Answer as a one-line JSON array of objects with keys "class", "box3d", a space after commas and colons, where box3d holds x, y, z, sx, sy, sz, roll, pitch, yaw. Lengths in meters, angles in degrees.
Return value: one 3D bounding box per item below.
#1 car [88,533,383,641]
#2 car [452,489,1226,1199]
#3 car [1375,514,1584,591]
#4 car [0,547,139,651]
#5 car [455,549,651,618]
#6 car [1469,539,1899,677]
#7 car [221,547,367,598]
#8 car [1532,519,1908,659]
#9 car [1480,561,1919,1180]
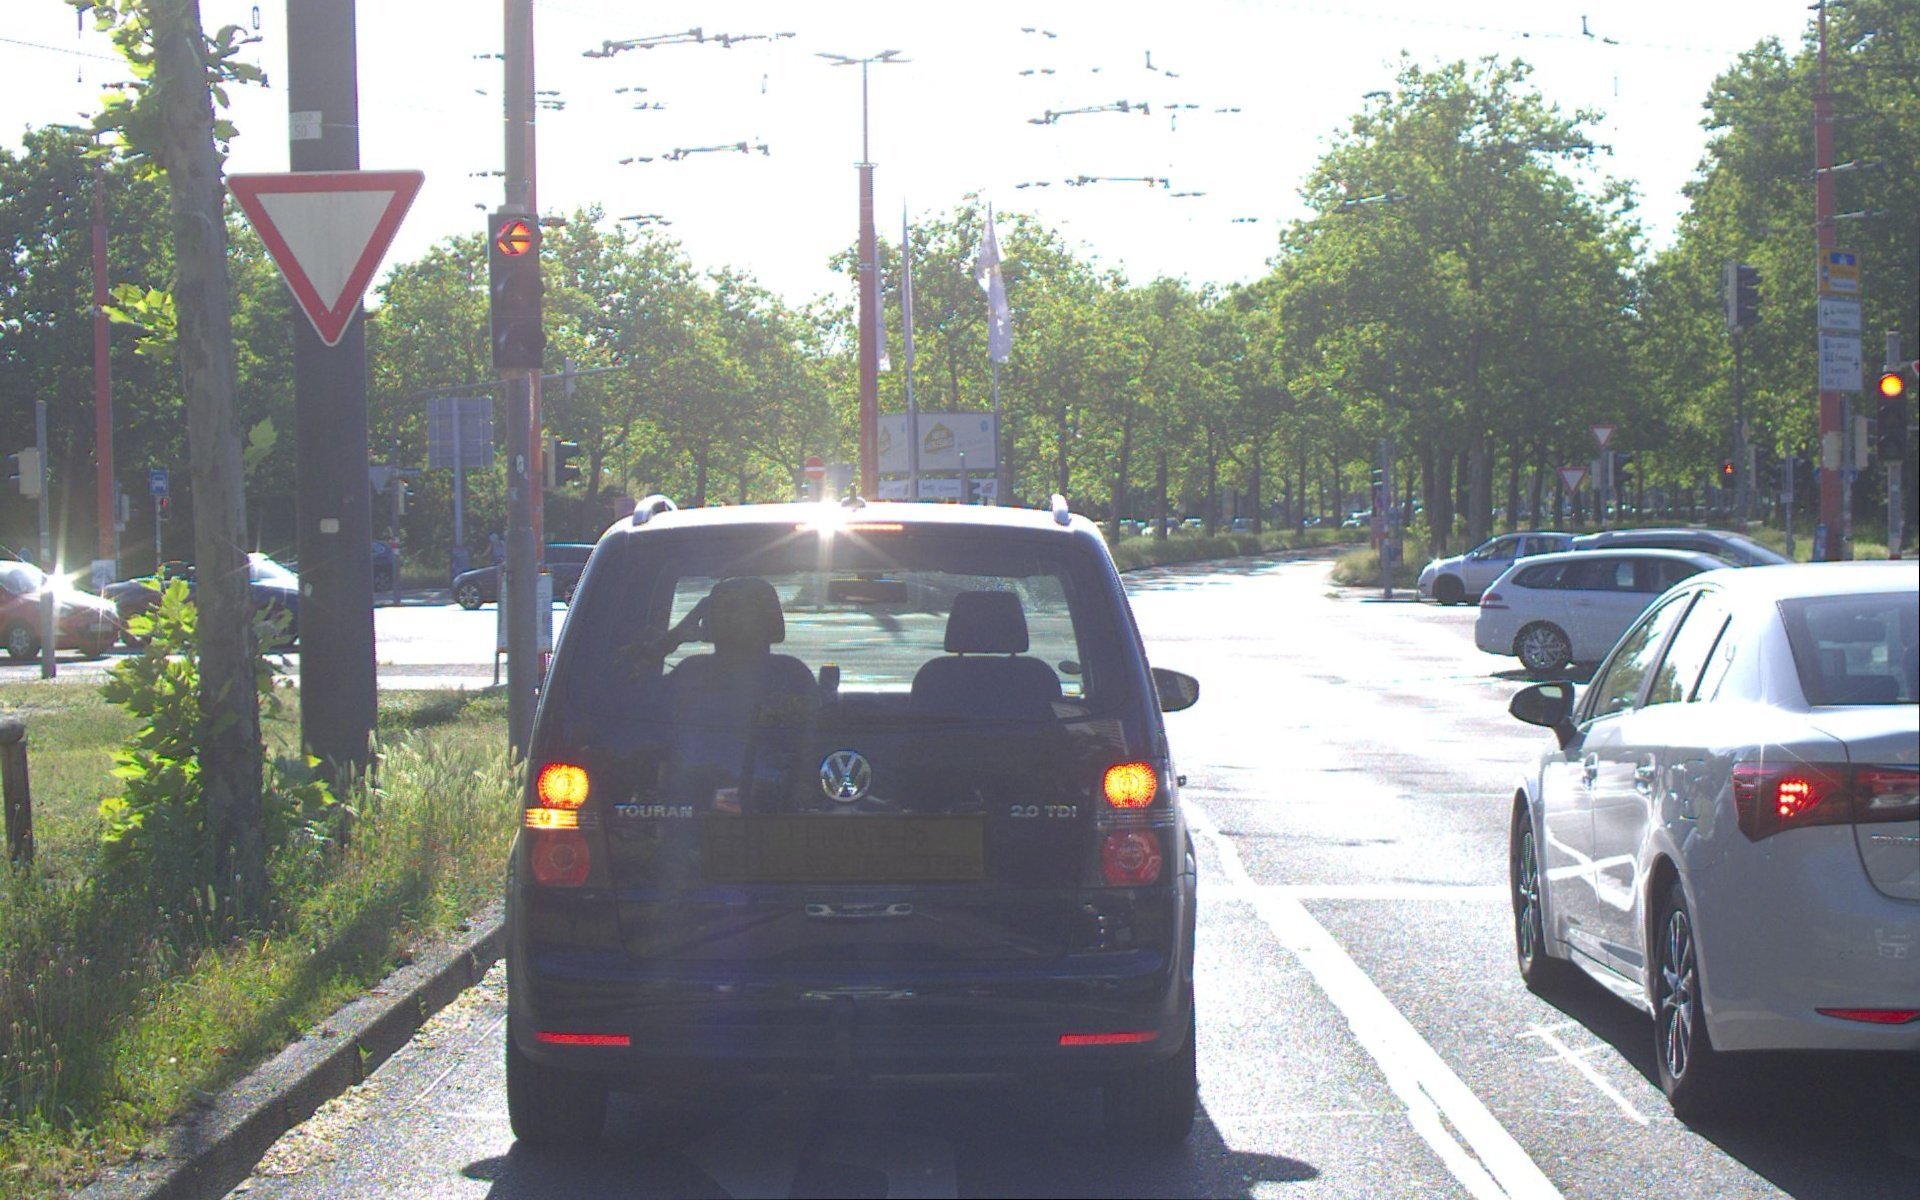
[{"class": "car", "box3d": [-11.591, -0.237, 54.922, 4.636, 1.641, 1.753, 1, 1, 30]}, {"class": "car", "box3d": [-0.257, 0.537, 9.975, 1.738, 1.597, 4.326, 1, 1, 1]}, {"class": "car", "box3d": [10.407, -0.971, 68.873, 3.797, 1.505, 1.654, 1, 1, 28]}, {"class": "car", "box3d": [-14.574, -0.044, 52.182, 4.194, 1.514, 1.654, 1, 1, 32]}, {"class": "car", "box3d": [-9.230, -0.387, 77.983, 4.140, 1.505, 1.655, 1, 1, 22]}, {"class": "car", "box3d": [8.436, 0.058, 40.160, 4.629, 1.514, 1.654, 1, 1, 28]}, {"class": "car", "box3d": [-19.364, -0.816, 100.106, 3.916, 1.452, 1.655, -1, 2, -45]}, {"class": "car", "box3d": [9.580, -0.172, 43.469, 4.335, 1.686, 1.654, 1, 1, 32]}, {"class": "car", "box3d": [2.753, 0.618, 10.153, 1.799, 1.435, 4.326, 1, 1, 1]}]
